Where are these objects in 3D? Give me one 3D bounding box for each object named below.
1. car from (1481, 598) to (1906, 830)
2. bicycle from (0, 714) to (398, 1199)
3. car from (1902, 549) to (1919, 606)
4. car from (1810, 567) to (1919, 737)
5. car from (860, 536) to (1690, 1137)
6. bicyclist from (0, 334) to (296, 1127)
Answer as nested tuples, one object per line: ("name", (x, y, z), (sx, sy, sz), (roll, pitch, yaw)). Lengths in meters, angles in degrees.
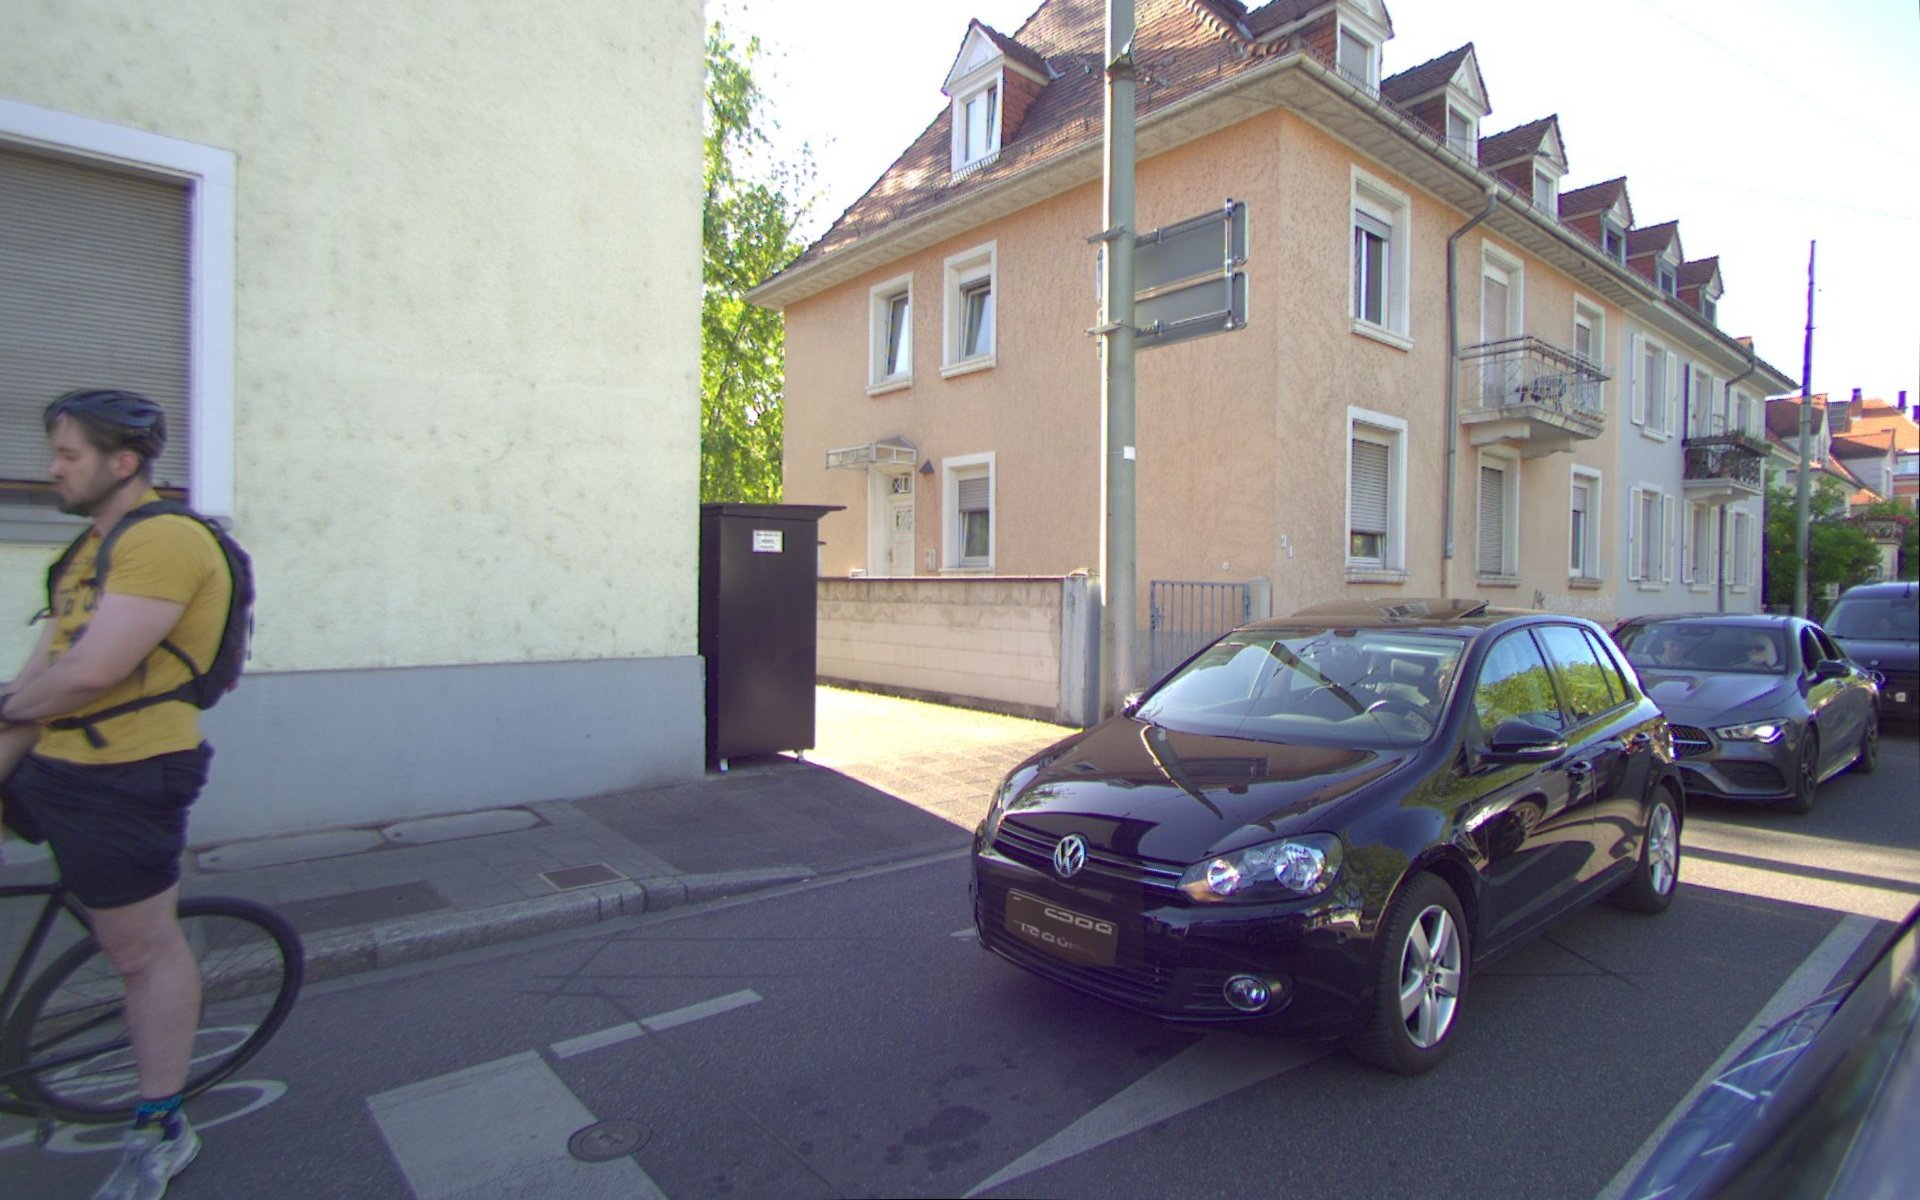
("car", (6.390, 0.721, 8.625), (4.413, 1.437, 1.911), (-1, 0, -40))
("bicycle", (-2.383, 0.898, 2.384), (1.749, 1.044, 0.756), (-1, 0, -40))
("car", (26.758, -0.601, 27.088), (3.930, 1.476, 1.839), (-1, 0, -41))
("car", (12.075, 0.533, 12.372), (4.695, 1.827, 1.864), (-1, 0, -41))
("car", (1.687, 0.644, 4.551), (3.979, 1.527, 1.731), (2, -1, -41))
("bicyclist", (-2.225, 0.274, 2.521), (0.868, 1.684, 0.807), (0, 0, -40))
